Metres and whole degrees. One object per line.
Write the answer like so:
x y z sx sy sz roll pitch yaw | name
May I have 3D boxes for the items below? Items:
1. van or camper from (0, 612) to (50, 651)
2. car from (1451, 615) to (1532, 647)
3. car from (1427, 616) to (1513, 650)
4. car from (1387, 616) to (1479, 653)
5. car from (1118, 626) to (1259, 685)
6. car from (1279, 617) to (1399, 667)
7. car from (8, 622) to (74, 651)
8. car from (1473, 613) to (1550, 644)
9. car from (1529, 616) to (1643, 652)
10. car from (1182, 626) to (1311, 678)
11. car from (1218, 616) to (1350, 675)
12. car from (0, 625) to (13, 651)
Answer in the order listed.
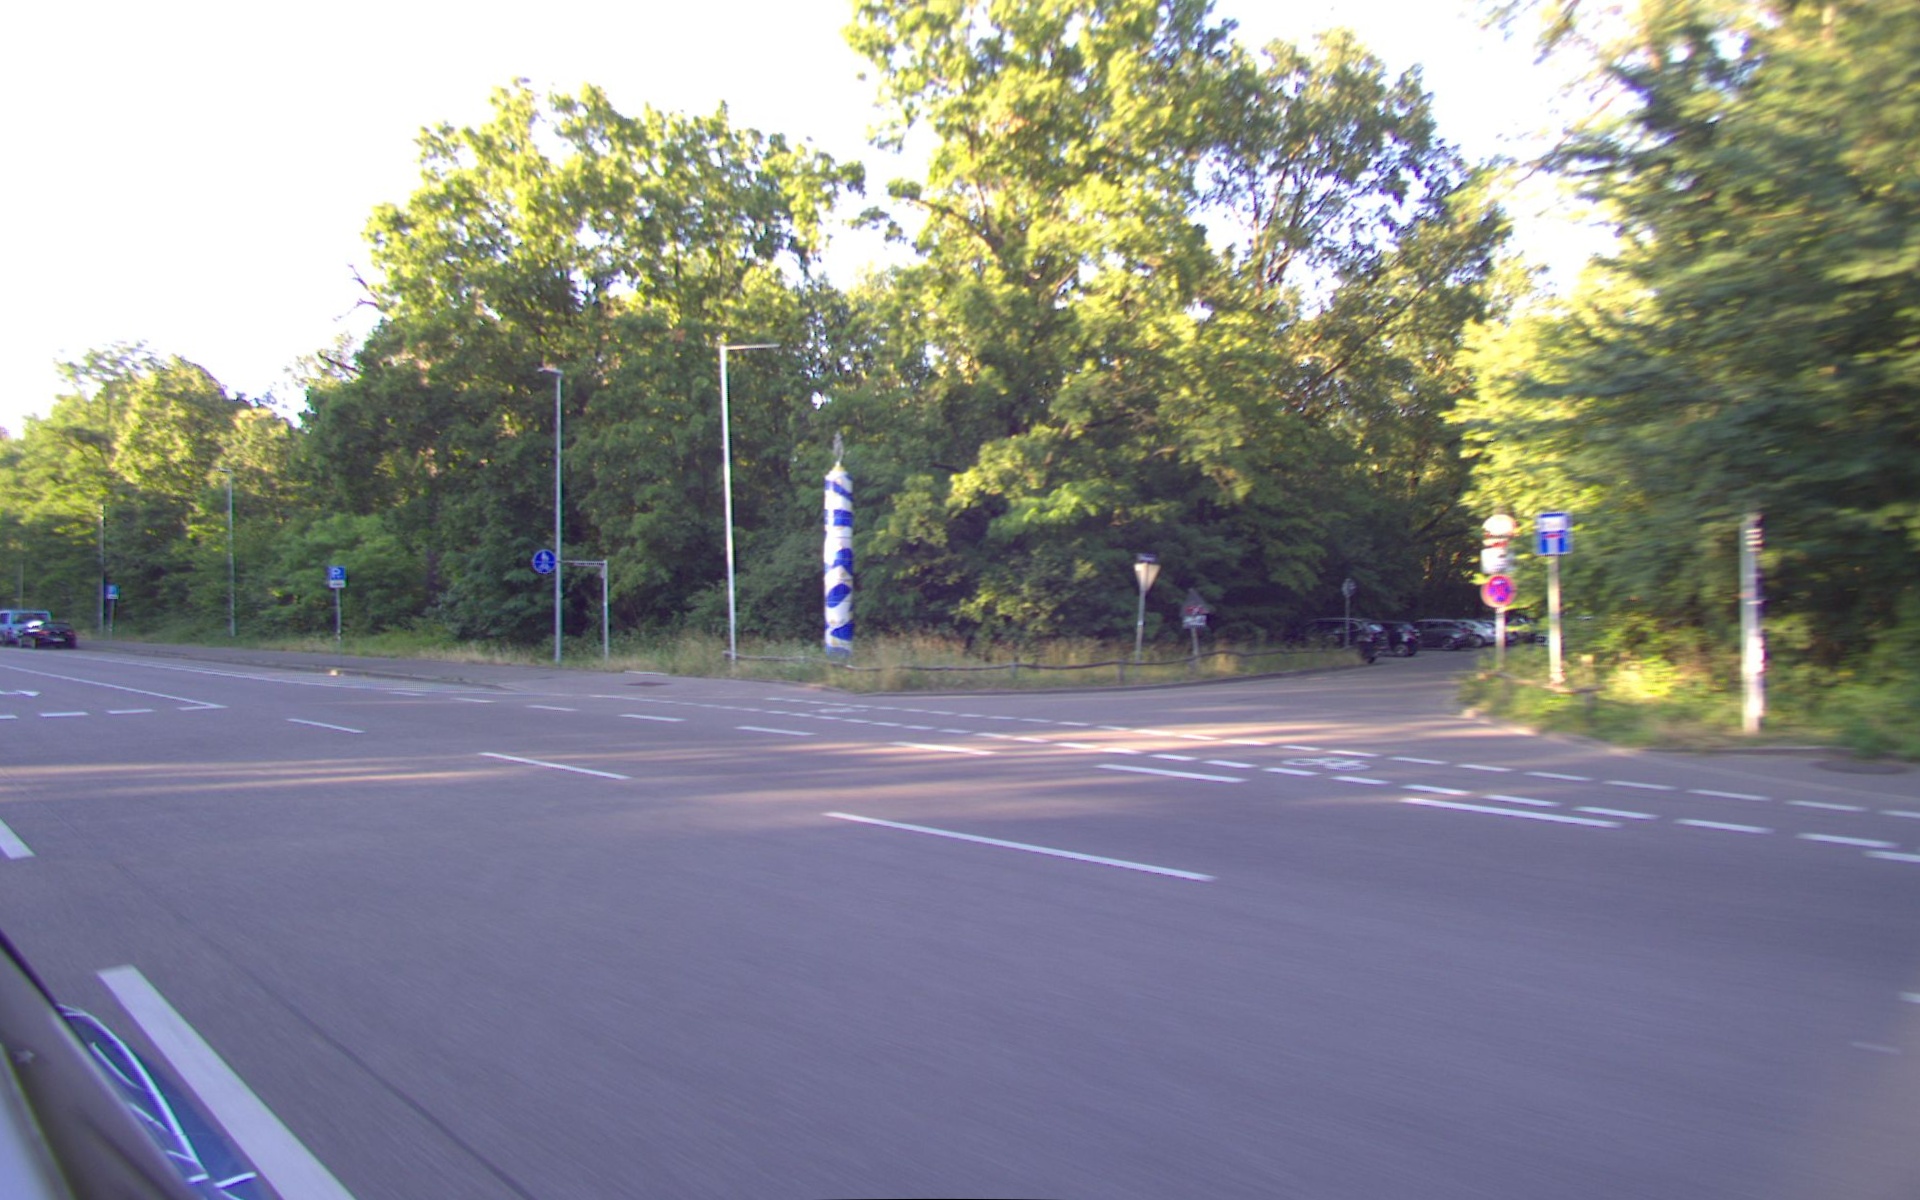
-53.061 1.768 56.798 5.005 2.110 2.013 -1 -3 37 | van or camper
29.474 1.711 56.139 3.671 1.699 1.726 -1 -1 42 | car
26.364 1.687 52.351 3.671 1.699 1.726 -1 -1 42 | car
22.712 1.626 48.667 3.671 1.699 1.726 -1 -1 42 | car
6.191 1.465 27.628 3.343 1.463 1.725 -1 -1 43 | car
13.613 1.467 36.415 3.671 1.699 1.726 -1 -1 42 | car
-48.492 1.929 53.360 4.234 1.473 1.672 -1 -3 35 | car
32.099 1.648 58.933 3.671 1.699 1.726 -1 -1 42 | car
28.922 1.556 46.869 4.081 1.599 1.799 0 -1 8 | car
8.623 1.530 30.611 3.343 1.463 1.725 -1 -1 43 | car
10.387 1.424 32.570 3.672 1.797 1.725 -1 -1 43 | car
-57.576 2.214 59.778 3.962 1.505 1.529 -1 -3 35 | car
